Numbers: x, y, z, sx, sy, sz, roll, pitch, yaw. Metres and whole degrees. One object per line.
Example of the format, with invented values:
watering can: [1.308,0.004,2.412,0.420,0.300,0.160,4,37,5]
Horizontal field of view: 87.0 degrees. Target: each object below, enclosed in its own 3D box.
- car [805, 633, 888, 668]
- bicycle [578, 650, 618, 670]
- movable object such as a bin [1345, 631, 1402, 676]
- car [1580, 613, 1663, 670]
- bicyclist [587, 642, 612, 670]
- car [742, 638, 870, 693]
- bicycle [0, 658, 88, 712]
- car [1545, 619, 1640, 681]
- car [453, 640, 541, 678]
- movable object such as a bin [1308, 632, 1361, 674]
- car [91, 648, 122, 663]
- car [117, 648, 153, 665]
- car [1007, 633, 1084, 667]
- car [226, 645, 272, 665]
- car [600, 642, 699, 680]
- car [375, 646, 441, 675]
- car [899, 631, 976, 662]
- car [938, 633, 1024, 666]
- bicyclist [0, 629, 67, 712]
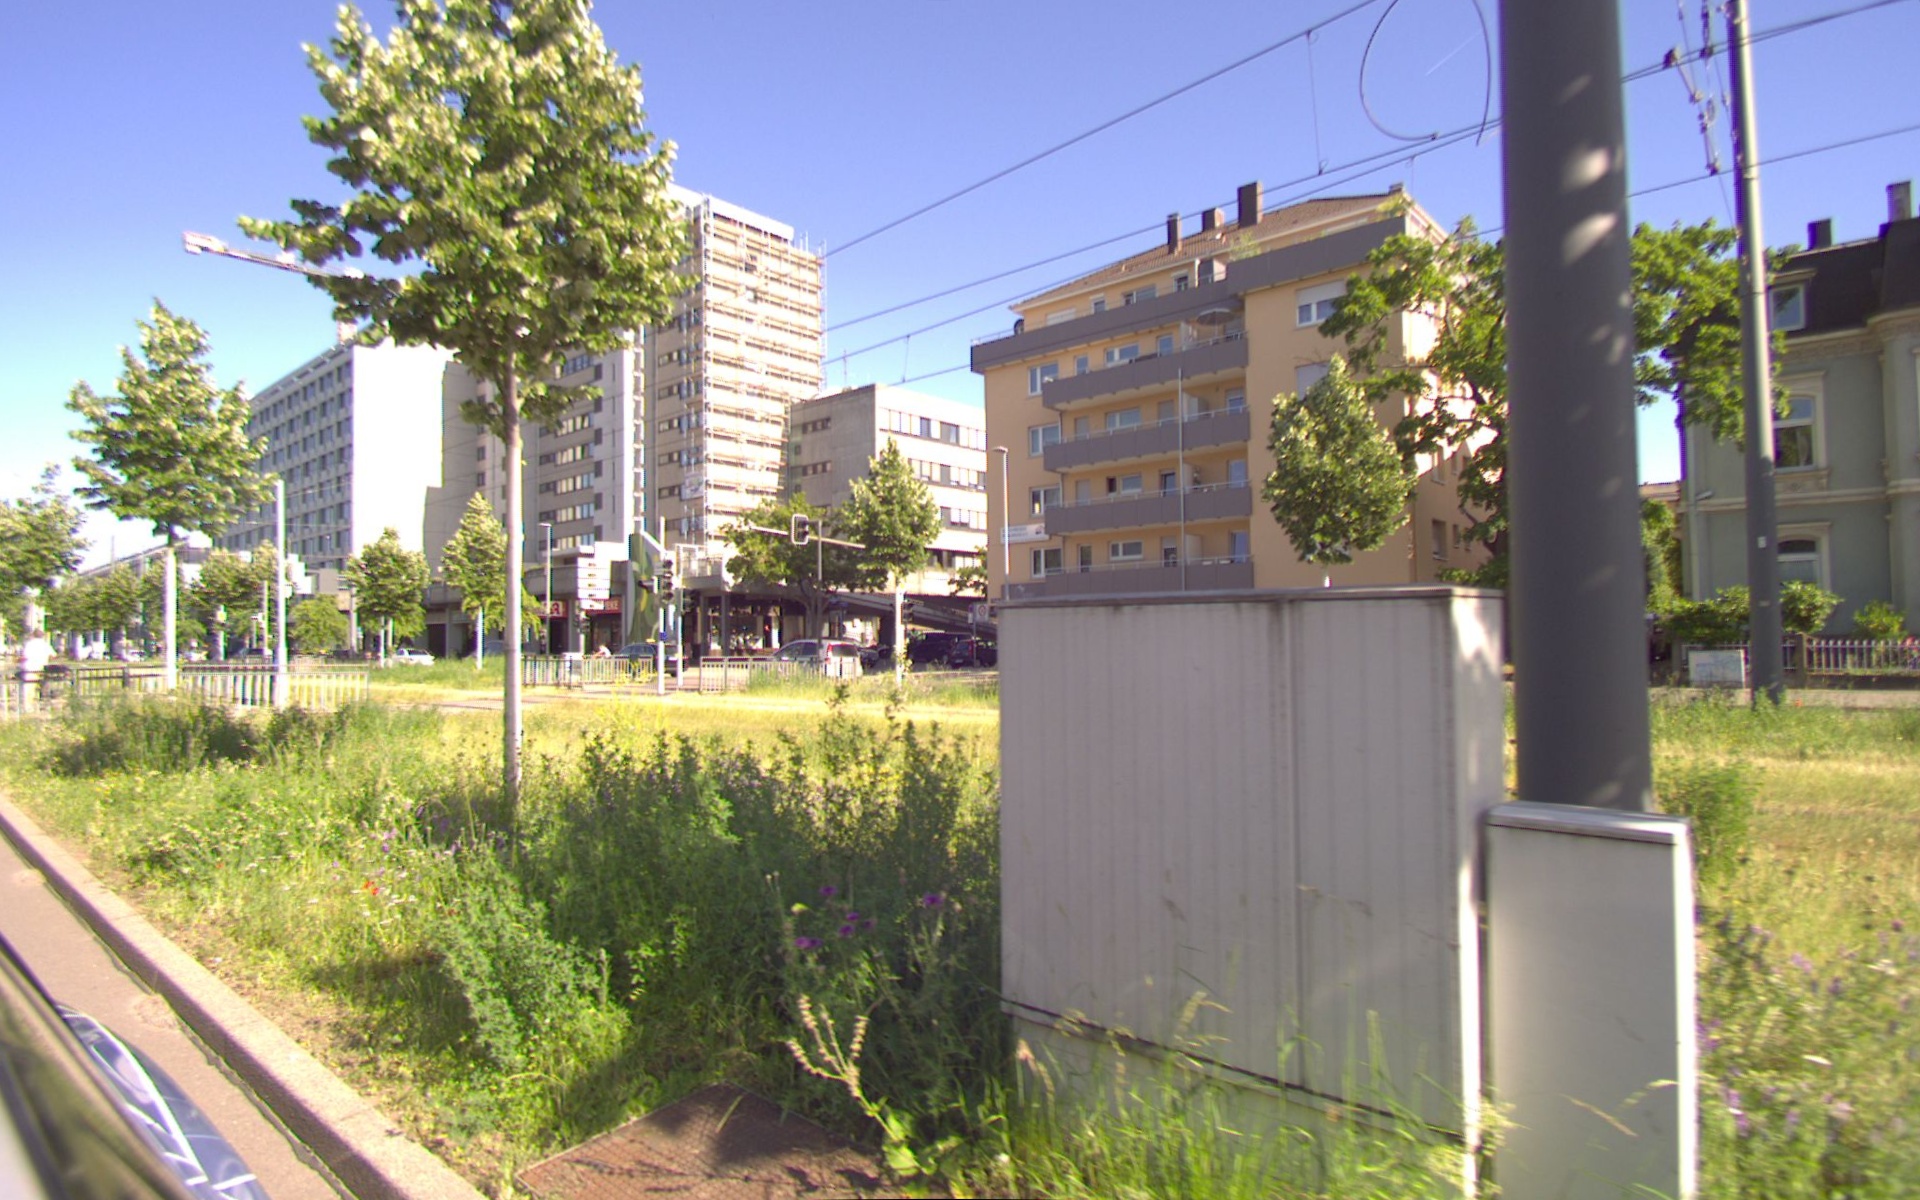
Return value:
car: [-6.684,2.965,59.367,4.643,1.934,1.991,-2,-2,34]
bicycle: [-19.725,3.254,55.143,2.838,1.084,0.628,-2,-3,38]
movable object such as a bin: [13.605,1.743,33.298,1.327,1.410,1.249,-2,-1,44]
car: [22.429,1.384,34.257,1.913,1.806,3.947,-3,-3,39]
bicyclist: [-19.657,3.028,55.118,1.387,1.505,0.659,-3,-3,38]
car: [-4.946,2.061,32.282,3.991,1.614,1.725,-2,-2,35]
bicycle: [-19.574,1.785,21.303,1.959,1.064,0.723,0,-1,7]
car: [19.039,1.469,30.417,1.913,1.740,3.947,-3,-3,39]
car: [-21.298,2.686,46.476,4.652,1.609,1.890,-3,-3,40]
movable object such as a bin: [12.748,1.787,34.457,1.326,1.381,1.250,-3,-3,41]
car: [-94.975,6.124,112.560,4.590,1.582,1.890,-3,-3,40]
car: [-80.860,5.543,99.146,4.590,1.582,1.890,-3,-3,40]
car: [4.867,2.810,57.208,2.013,1.793,4.592,-3,-3,40]
car: [-57.068,4.409,81.191,4.590,1.582,1.890,-3,-3,40]
car: [-13.394,2.593,43.488,4.652,1.514,1.890,-3,-3,40]
car: [-32.711,3.555,59.908,4.652,1.582,1.890,-3,-3,40]
car: [-1.476,2.979,64.665,4.643,1.934,1.991,-2,-2,34]
car: [1.127,2.554,52.767,2.013,1.605,4.592,-3,-3,40]
bicyclist: [-19.605,1.461,21.310,0.810,1.699,0.858,-1,-2,6]
